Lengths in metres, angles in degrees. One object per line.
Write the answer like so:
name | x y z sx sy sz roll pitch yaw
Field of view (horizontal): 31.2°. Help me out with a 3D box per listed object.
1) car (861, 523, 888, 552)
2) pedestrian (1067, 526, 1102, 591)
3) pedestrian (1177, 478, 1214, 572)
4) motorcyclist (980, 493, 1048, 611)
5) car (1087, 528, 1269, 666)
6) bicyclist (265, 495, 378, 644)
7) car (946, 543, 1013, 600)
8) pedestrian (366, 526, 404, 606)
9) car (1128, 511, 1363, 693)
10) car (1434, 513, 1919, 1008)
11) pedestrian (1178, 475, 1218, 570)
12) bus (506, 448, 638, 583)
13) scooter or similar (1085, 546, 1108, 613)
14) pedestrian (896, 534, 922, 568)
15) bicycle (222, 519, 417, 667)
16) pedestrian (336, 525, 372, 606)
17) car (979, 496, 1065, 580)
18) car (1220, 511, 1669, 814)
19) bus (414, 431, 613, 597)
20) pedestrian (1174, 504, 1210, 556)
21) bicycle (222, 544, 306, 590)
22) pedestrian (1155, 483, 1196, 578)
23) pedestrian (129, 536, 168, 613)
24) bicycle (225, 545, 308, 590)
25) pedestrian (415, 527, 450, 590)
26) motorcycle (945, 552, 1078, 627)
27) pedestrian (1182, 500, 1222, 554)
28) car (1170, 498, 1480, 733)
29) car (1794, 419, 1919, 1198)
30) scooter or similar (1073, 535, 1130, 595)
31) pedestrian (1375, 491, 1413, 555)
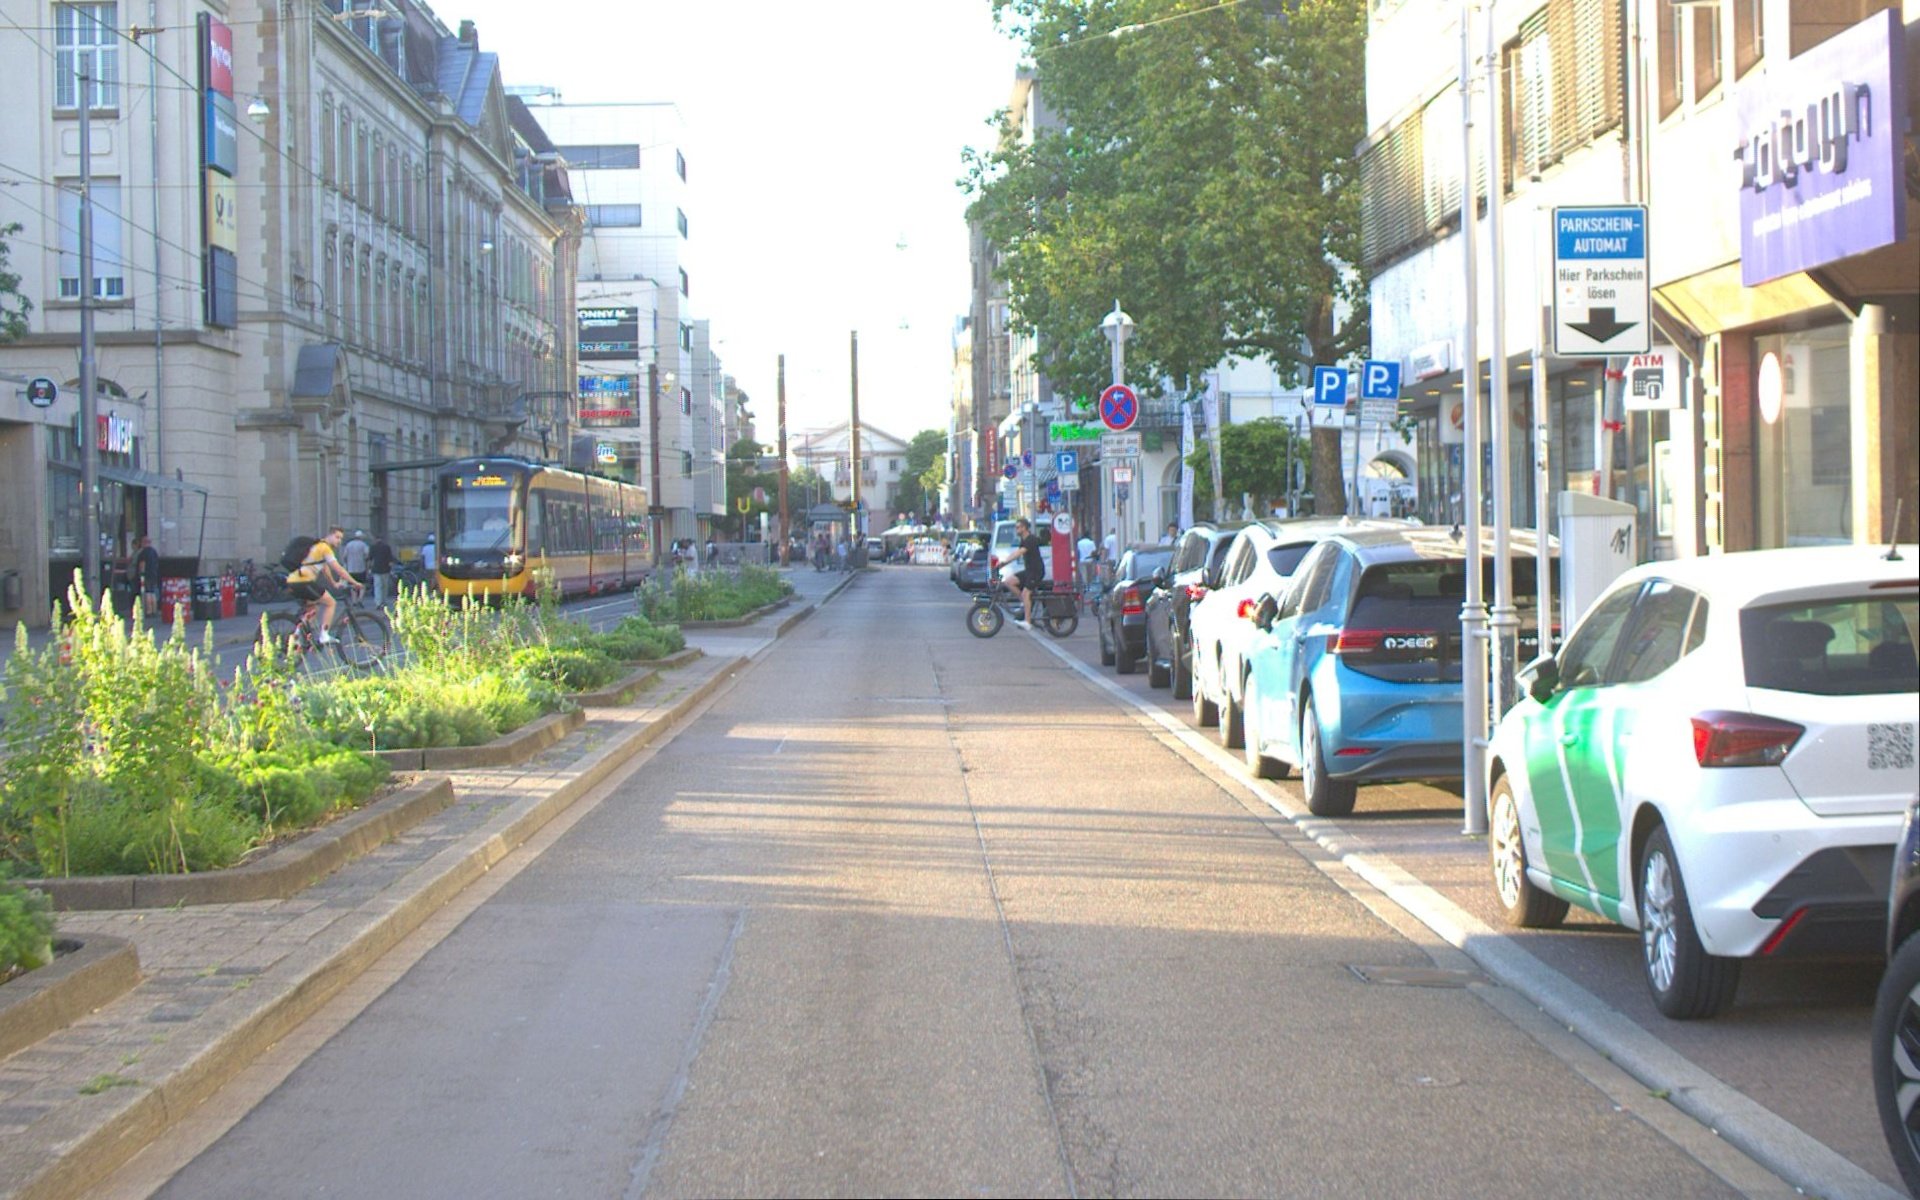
car | -5.810 -4.225 233.760 1.760 1.821 3.570 -1 0 -1
pedestrian | 3.416 -1.132 94.419 0.786 1.745 0.895 -1 -1 -8
pedestrian | 4.362 -1.379 63.788 0.614 1.711 0.662 -1 -1 1
motorcyclist | 0.835 -0.738 53.714 1.002 1.807 0.959 -1 -1 0
car | 2.463 -0.077 39.710 1.655 1.375 4.341 -5 1 -1
bicyclist | -7.741 -0.375 41.686 0.930 1.770 0.970 -2 1 -44
car | 0.608 -0.923 109.502 1.993 1.755 4.421 -1 1 -1
pedestrian | -13.361 -0.794 79.939 0.733 1.834 0.715 -1 0 -1
car | 2.702 -0.041 33.488 1.775 1.533 4.579 -1 3 -1
car | 2.925 0.457 12.144 1.730 1.430 4.153 -1 0 -2
pedestrian | 4.366 -1.424 63.118 0.678 1.711 0.654 -1 -1 2
bus | -10.949 -2.436 97.727 2.822 3.612 8.290 -1 2 -1
scooter or similar | 2.546 -0.387 64.094 0.315 1.217 1.272 -1 1 6
pedestrian | -2.965 -2.845 199.665 1.229 1.922 1.022 -1 1 -17
bicycle | -7.748 -0.105 41.677 2.362 1.734 0.602 -2 2 -44
pedestrian | -14.095 -0.800 79.980 0.693 1.841 0.662 -1 -1 -1
car | 1.510 -1.528 84.757 1.915 1.975 4.421 -1 1 -1
car | 2.708 0.274 20.314 1.809 1.546 4.837 -1 1 -2
bus | -10.795 -2.116 85.059 2.822 3.639 17.074 -1 1 -1
pedestrian | 5.987 -1.797 88.750 0.822 1.301 0.870 -1 -1 -1
bicycle | -18.127 -0.853 89.565 2.096 1.144 0.575 -1 -1 -5
pedestrian | 4.147 -1.333 66.217 0.714 1.797 0.824 -2 0 2
pedestrian | -17.316 -0.549 73.345 0.714 1.640 0.660 0 1 -23
bicycle | -18.203 -0.848 90.231 2.077 1.144 0.575 -1 -1 -5
pedestrian | -14.519 -1.150 94.597 0.814 1.701 0.762 -1 -1 0
motorcycle | 0.802 -0.155 53.693 2.044 1.120 0.568 -1 -1 0
pedestrian | 6.093 -1.838 86.662 0.902 1.301 0.967 -1 -1 -2
car | 2.634 0.054 25.821 1.816 1.580 4.723 -1 1 0
car | 2.874 0.443 5.816 1.765 1.599 4.288 -1 1 -1
scooter or similar | 2.941 -0.733 71.541 1.125 1.212 0.300 -2 0 0
pedestrian | 8.906 -1.582 70.578 0.645 1.280 0.740 -1 -1 15
